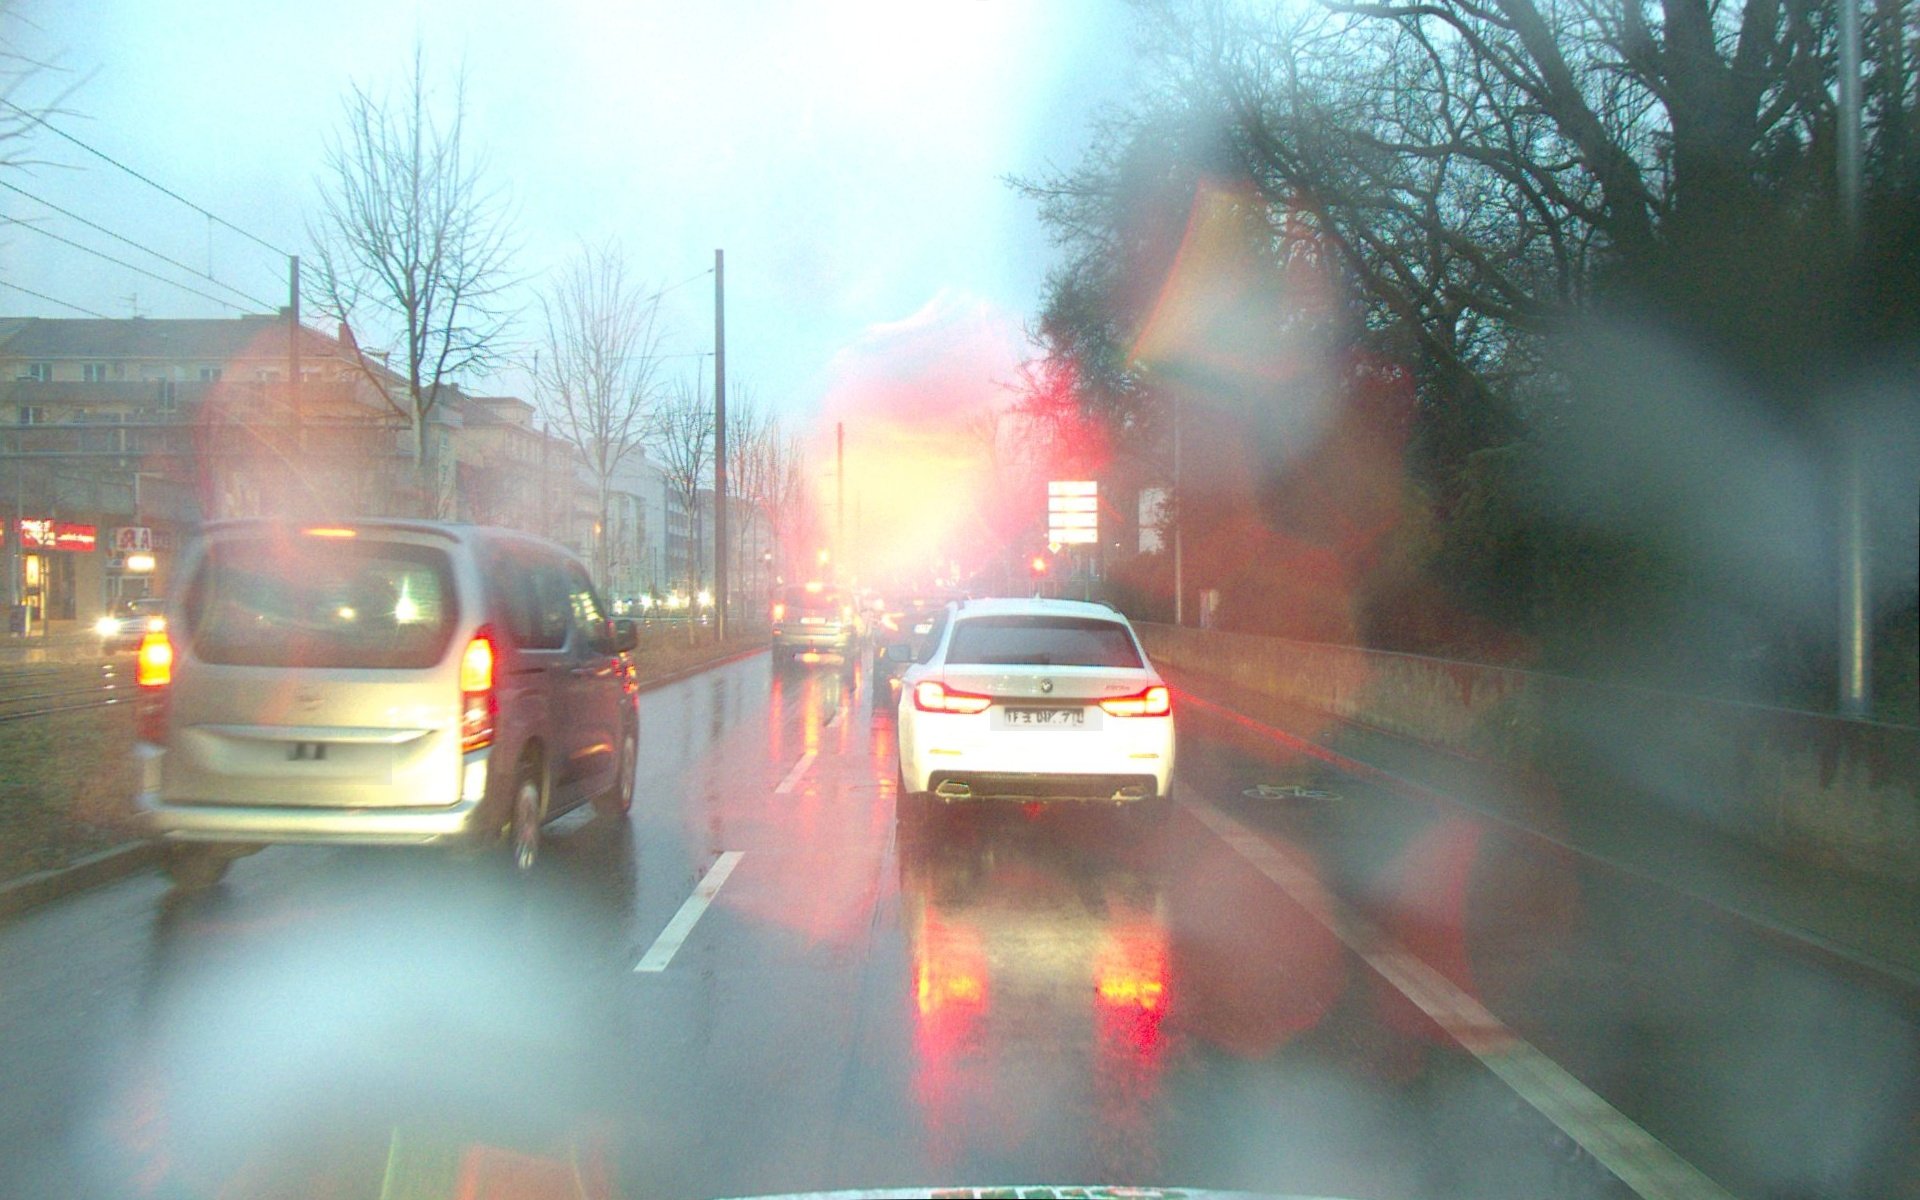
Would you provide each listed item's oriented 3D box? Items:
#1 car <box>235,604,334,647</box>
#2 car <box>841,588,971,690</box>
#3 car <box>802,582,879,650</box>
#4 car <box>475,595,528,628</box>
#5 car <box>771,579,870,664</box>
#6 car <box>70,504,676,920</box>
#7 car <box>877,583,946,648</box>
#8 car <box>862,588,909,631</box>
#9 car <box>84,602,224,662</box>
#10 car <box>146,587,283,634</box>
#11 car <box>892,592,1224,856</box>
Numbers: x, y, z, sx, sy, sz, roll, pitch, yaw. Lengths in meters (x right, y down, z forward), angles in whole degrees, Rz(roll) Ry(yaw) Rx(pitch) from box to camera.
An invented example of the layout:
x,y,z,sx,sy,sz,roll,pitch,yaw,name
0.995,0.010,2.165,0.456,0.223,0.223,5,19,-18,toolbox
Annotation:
x,y,z,sx,sy,sz,roll,pitch,yaw,name
-25.798,0.943,63.309,1.857,1.542,4.791,0,0,-1,car
-0.814,0.561,26.393,1.896,1.483,4.163,1,0,-1,car
-3.323,0.439,46.606,1.953,1.785,3.999,1,0,-1,car
-25.192,0.616,91.045,1.858,1.749,4.912,0,0,-4,car
-2.884,0.409,34.993,1.770,1.674,4.000,1,0,-1,car
-2.931,0.484,9.428,1.756,1.766,4.537,1,0,1,car
-1.288,0.383,45.382,1.770,1.674,4.000,1,0,-1,car
-3.031,0.359,68.124,1.770,1.674,4.000,1,0,-1,car
-20.743,0.789,42.719,1.857,1.456,3.706,0,0,-1,car
-32.501,0.428,72.200,1.966,1.945,5.129,0,0,44,car
0.561,0.727,11.892,1.958,1.534,4.163,1,0,-1,car
